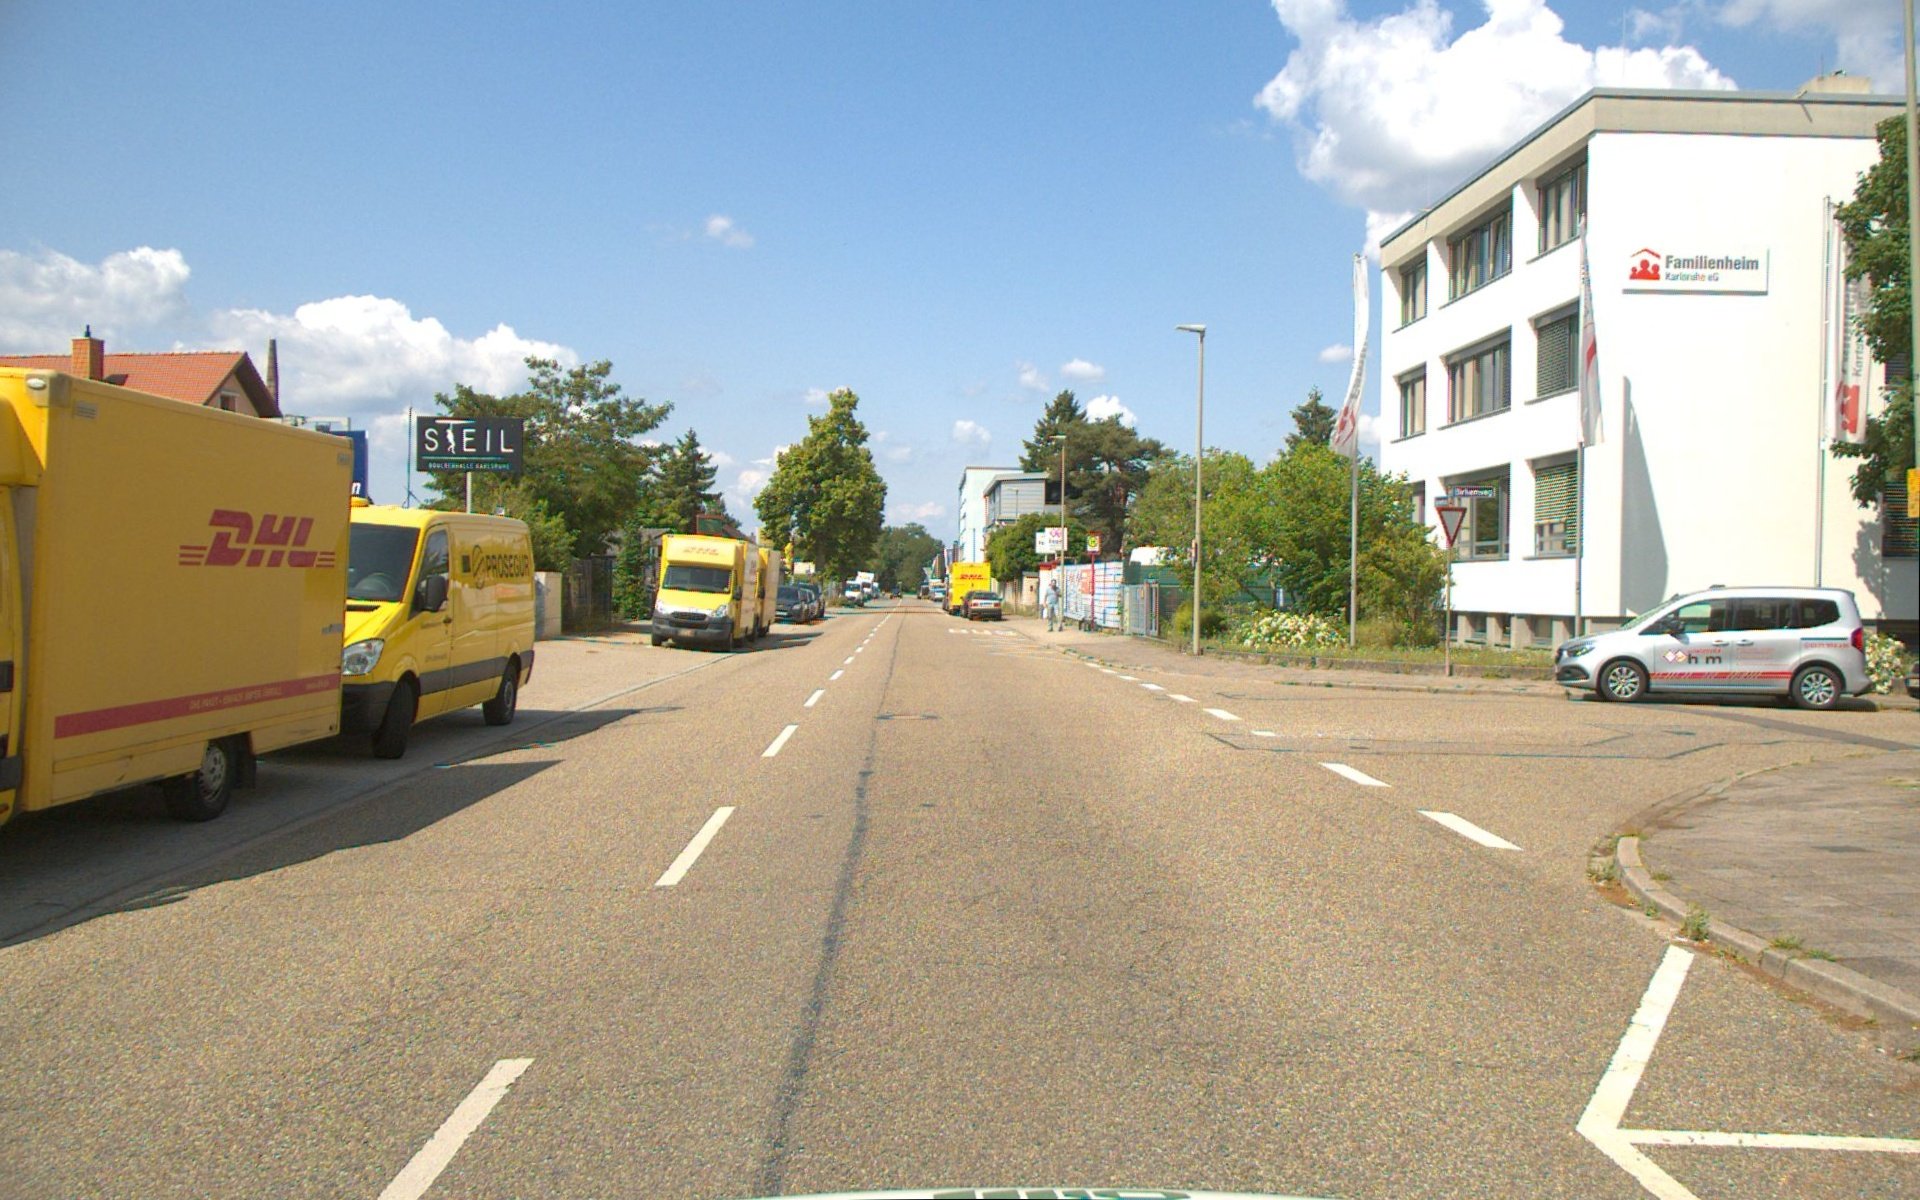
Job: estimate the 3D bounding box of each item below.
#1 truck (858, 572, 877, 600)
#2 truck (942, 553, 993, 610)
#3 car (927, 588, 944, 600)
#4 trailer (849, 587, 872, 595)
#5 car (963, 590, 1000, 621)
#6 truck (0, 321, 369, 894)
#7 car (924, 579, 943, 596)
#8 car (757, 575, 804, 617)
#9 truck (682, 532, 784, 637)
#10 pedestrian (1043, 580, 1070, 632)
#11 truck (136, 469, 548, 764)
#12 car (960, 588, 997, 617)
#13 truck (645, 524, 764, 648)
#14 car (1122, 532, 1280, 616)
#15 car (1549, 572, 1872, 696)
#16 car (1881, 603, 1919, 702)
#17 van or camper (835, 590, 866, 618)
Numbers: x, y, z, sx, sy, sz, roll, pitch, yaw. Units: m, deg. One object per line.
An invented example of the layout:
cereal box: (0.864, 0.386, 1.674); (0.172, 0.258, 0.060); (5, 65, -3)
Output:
truck: (-11.044, -1.694, 197.976); (1.988, 3.209, 6.498); (0, 1, -2)
truck: (0.369, -1.030, 93.835); (2.425, 2.991, 7.184); (2, 0, -3)
car: (-2.770, -0.700, 186.345); (1.889, 1.333, 3.999); (0, 1, -2)
trailer: (-11.012, -1.015, 183.752); (2.368, 0.827, 5.536); (3, 1, -1)
car: (1.034, 0.255, 82.215); (1.618, 1.411, 4.422); (2, 1, -2)
truck: (-5.946, -0.004, 9.919); (2.175, 2.907, 7.069); (2, 0, 0)
car: (-3.189, -1.490, 199.622); (2.171, 2.049, 5.483); (0, 1, -2)
car: (-7.658, -0.182, 70.927); (1.690, 1.632, 4.411); (4, 0, -4)
truck: (-6.941, -0.472, 51.305); (2.269, 2.912, 7.102); (3, 0, -2)
pedestrian: (3.313, 0.200, 56.823); (0.702, 1.726, 0.522); (-5, 1, -6)
truck: (-5.944, 0.112, 16.928); (1.953, 2.456, 6.064); (1, 1, 0)
car: (0.960, 0.113, 87.008); (1.629, 1.466, 4.280); (0, 0, -3)
truck: (-6.581, -0.330, 43.511); (2.223, 2.904, 7.171); (2, 0, -2)
car: (8.018, -0.861, 55.195); (4.816, 2.698, 2.069); (0, 0, -10)
car: (11.427, 0.512, 25.501); (4.302, 1.783, 1.866); (0, -2, 16)
car: (16.424, 0.814, 24.586); (4.520, 1.452, 1.758); (1, 1, -3)
van or camper: (-10.071, 0.359, 152.846); (2.128, 2.455, 7.699); (1, 1, 1)
